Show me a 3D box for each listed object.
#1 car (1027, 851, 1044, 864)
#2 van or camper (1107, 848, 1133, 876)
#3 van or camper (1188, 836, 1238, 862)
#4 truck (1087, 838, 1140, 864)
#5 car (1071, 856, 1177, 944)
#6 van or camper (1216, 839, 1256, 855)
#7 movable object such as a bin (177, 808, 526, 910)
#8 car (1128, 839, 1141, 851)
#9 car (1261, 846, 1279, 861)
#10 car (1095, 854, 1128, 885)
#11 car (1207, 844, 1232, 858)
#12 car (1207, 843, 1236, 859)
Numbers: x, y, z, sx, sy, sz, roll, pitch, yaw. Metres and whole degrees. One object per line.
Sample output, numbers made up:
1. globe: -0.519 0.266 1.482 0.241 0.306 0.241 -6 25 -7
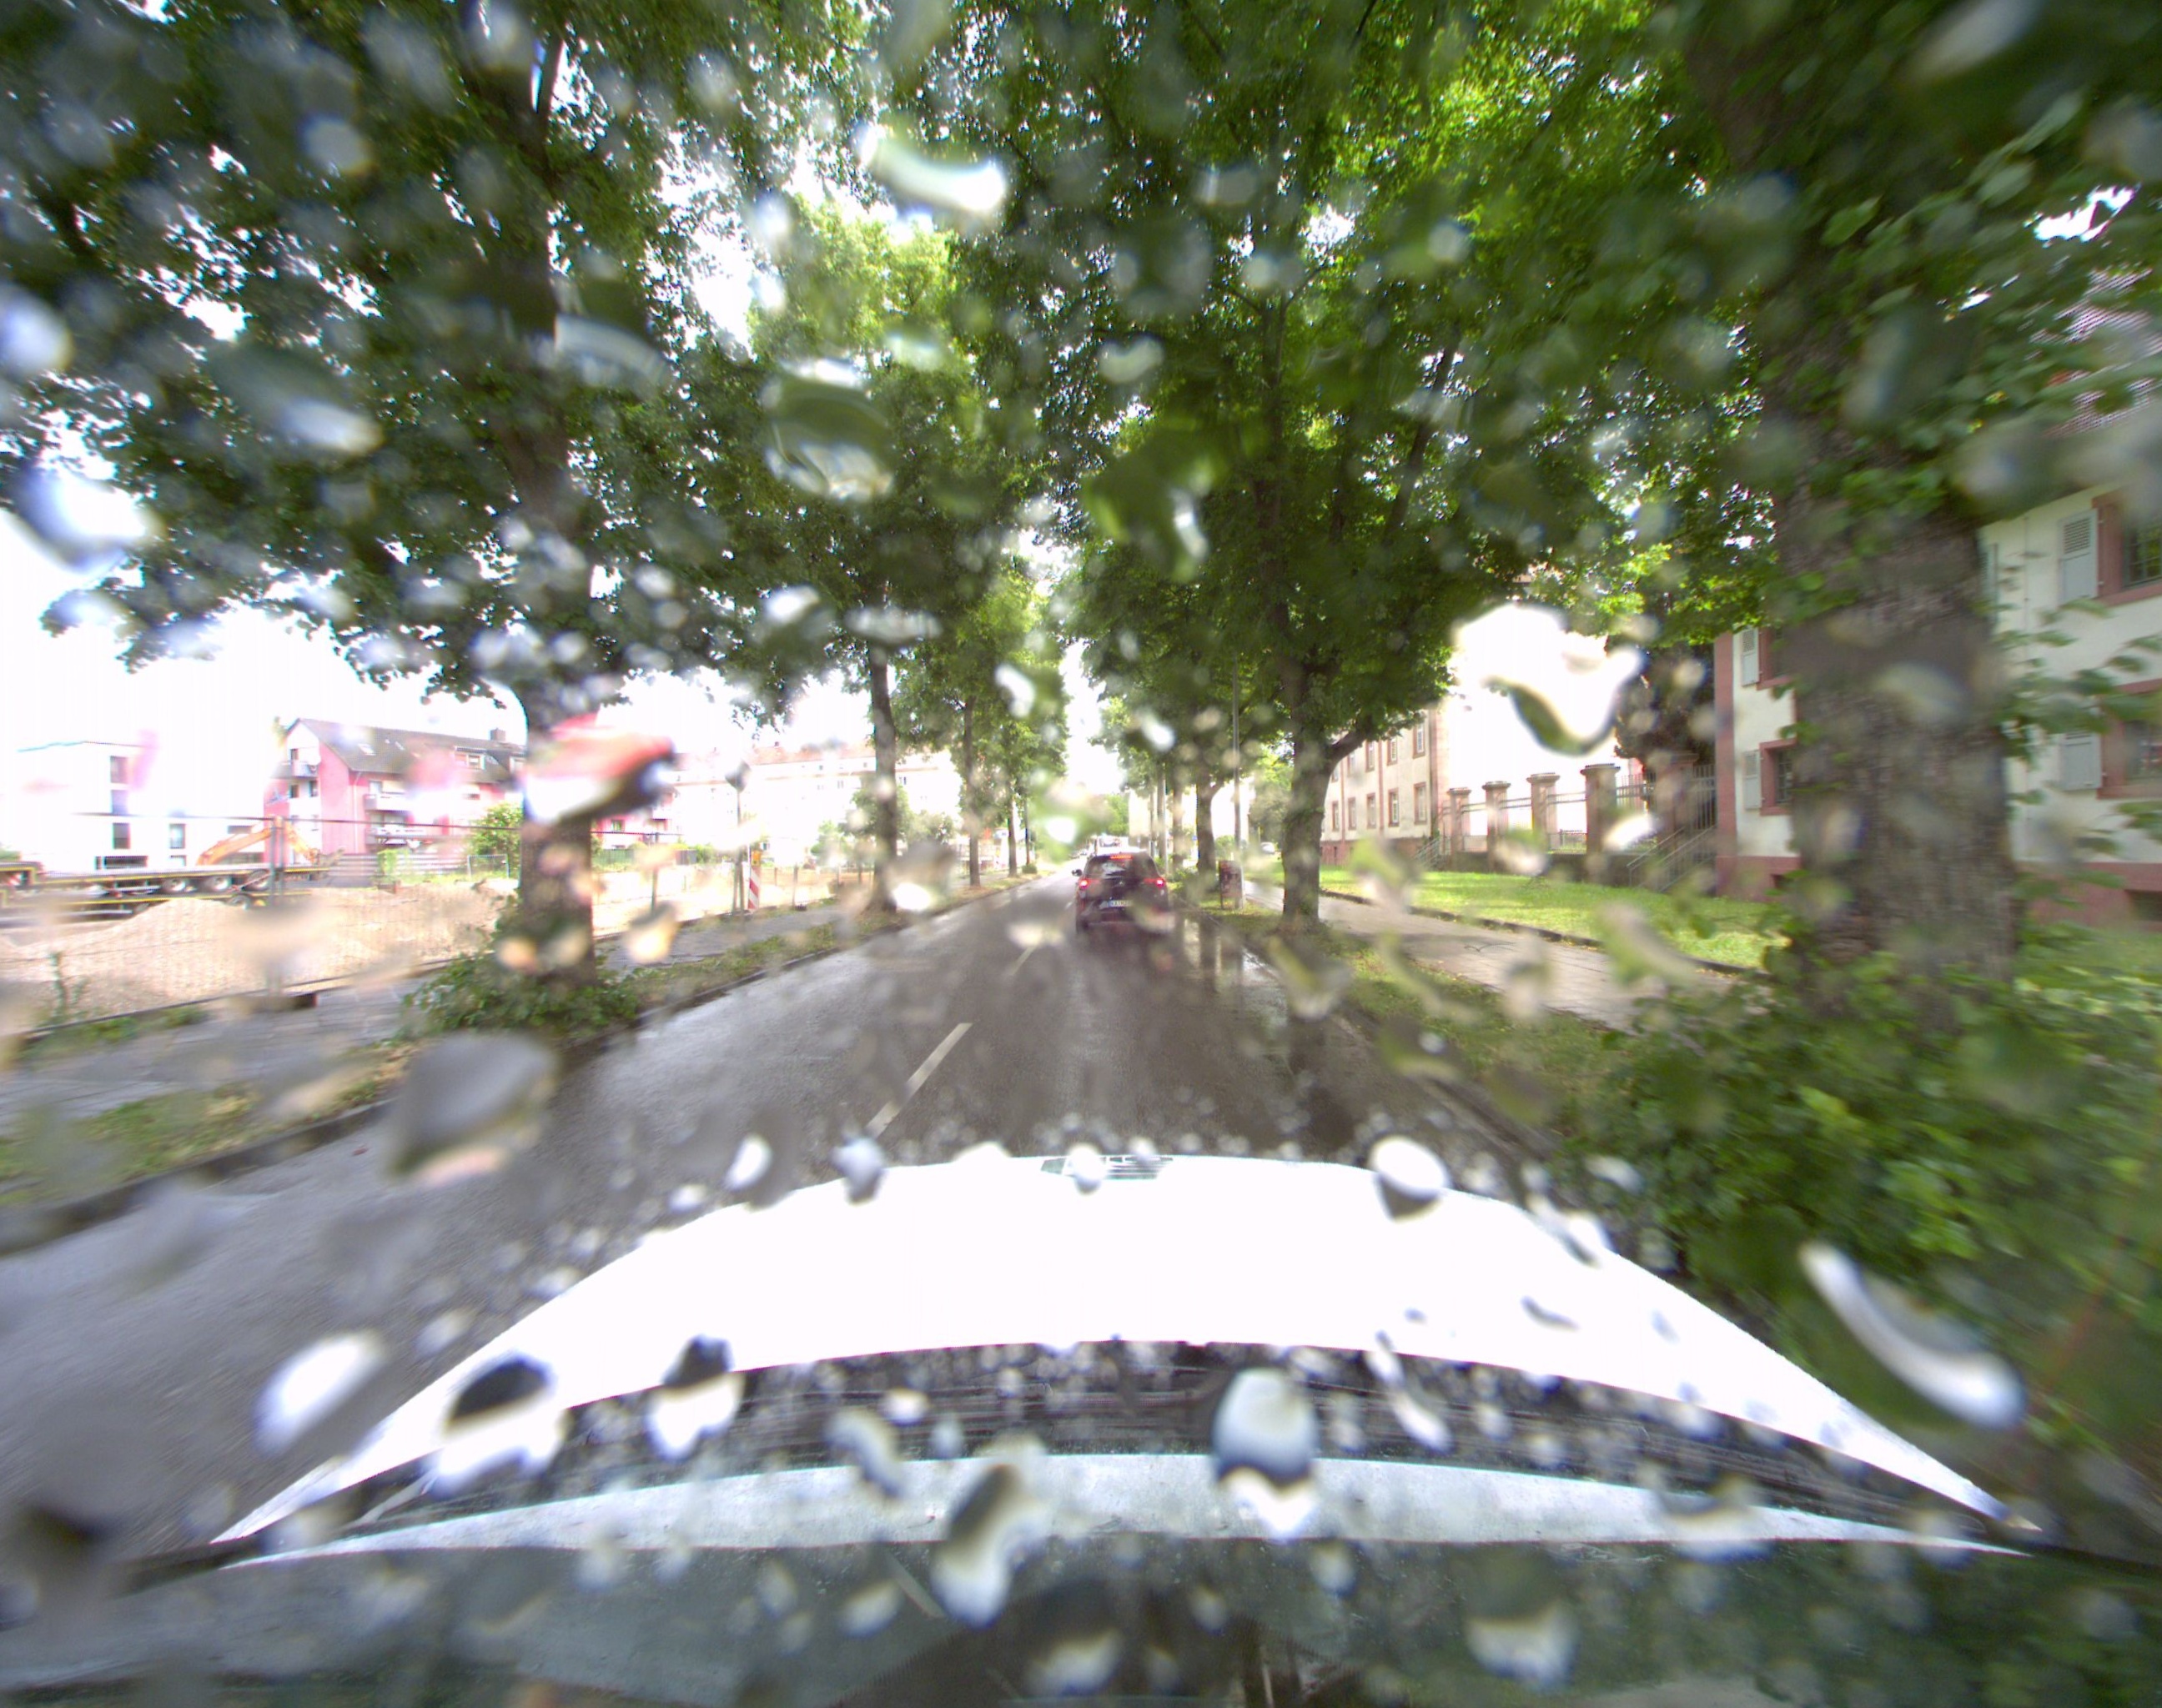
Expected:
1. car: -6.285 0.476 112.530 1.582 1.512 3.741 -5 0 8
2. van or camper: 2.874 0.561 59.752 1.811 1.947 4.199 -1 0 4
3. van or camper: 14.201 -0.566 87.824 5.015 2.595 2.168 -2 0 1
4. truck: 3.422 -0.380 88.789 2.815 2.656 8.185 -1 1 -20
5. car: 0.850 0.839 16.758 1.887 1.522 4.002 -1 0 2
6. van or camper: 19.963 -0.873 105.194 4.855 1.925 2.133 -1 1 2
7. movable object such as a bin: -50.115 0.115 57.431 6.805 6.043 16.846 -1 1 26
8. car: 8.797 -1.481 133.791 1.985 2.013 4.003 -1 0 3
9. car: 23.440 -0.068 100.951 1.732 1.684 3.880 -5 0 9
10. car: 1.915 0.930 49.699 1.671 1.708 3.916 -4 -1 5
11. car: 19.578 -0.426 115.096 3.385 1.781 1.765 -5 0 11
12. car: 17.246 -0.335 99.816 3.387 1.781 1.764 -3 0 8
